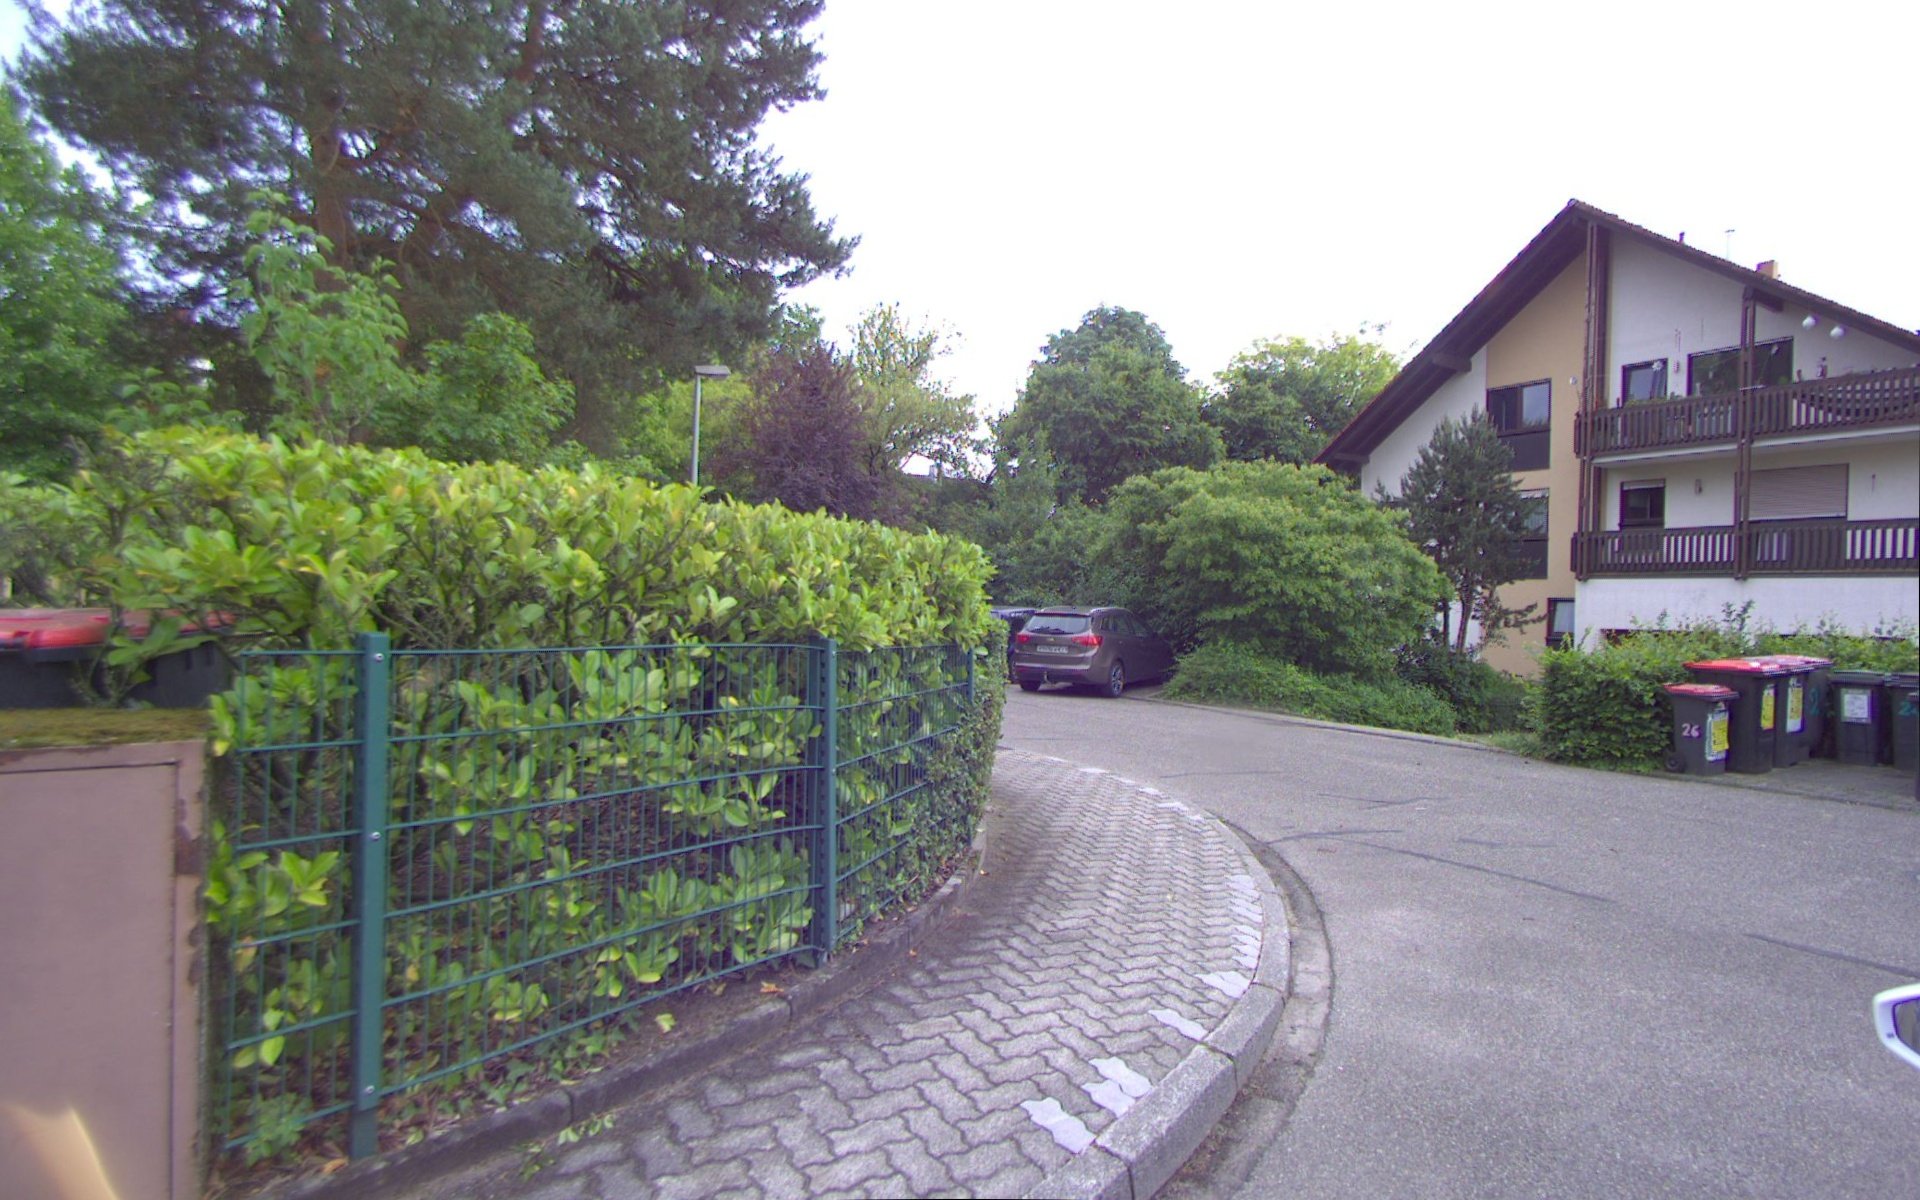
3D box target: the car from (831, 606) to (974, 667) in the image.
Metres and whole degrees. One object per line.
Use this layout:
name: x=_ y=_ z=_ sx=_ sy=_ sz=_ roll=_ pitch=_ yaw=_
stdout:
car: x=-1.397 y=0.886 z=25.851 sx=1.671 sy=1.393 sz=3.990 roll=1 pitch=0 yaw=32

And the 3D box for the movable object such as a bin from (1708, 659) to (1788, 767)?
movable object such as a bin: x=7.891 y=1.114 z=10.067 sx=0.334 sy=1.007 sz=0.533 roll=1 pitch=1 yaw=-35

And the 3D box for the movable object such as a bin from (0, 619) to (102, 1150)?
movable object such as a bin: x=-2.442 y=0.648 z=2.408 sx=0.510 sy=1.203 sz=0.502 roll=1 pitch=-1 yaw=-34

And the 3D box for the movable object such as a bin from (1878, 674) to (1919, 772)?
movable object such as a bin: x=9.252 y=1.192 z=9.765 sx=0.375 sy=0.901 sz=0.383 roll=1 pitch=1 yaw=-35

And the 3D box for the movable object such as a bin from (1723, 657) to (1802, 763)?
movable object such as a bin: x=8.187 y=1.102 z=10.251 sx=0.334 sy=1.007 sz=0.533 roll=1 pitch=1 yaw=-35

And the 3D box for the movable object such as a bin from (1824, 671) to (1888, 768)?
movable object such as a bin: x=9.023 y=1.189 z=10.121 sx=0.375 sy=0.913 sz=0.383 roll=1 pitch=1 yaw=-35

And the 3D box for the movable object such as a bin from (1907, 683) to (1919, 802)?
movable object such as a bin: x=8.361 y=1.196 z=8.284 sx=0.715 sy=0.966 sz=0.634 roll=1 pitch=1 yaw=-34

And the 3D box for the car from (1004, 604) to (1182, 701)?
car: x=2.503 y=0.857 z=18.094 sx=1.671 sy=1.510 sz=3.990 roll=1 pitch=0 yaw=32

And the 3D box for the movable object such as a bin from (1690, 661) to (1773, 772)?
movable object such as a bin: x=7.578 y=1.125 z=9.867 sx=0.375 sy=1.007 sz=0.533 roll=1 pitch=1 yaw=-35

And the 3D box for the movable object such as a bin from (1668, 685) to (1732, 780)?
movable object such as a bin: x=7.178 y=1.269 z=9.745 sx=0.375 sy=0.848 sz=0.383 roll=1 pitch=1 yaw=-35

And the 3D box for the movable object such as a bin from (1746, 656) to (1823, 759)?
movable object such as a bin: x=8.659 y=1.110 z=10.559 sx=0.334 sy=1.007 sz=0.533 roll=1 pitch=1 yaw=-35

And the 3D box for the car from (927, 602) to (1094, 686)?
car: x=1.137 y=0.830 z=20.579 sx=1.671 sy=1.510 sz=3.990 roll=1 pitch=0 yaw=32

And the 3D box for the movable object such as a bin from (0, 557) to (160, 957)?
movable object such as a bin: x=-2.926 y=0.469 z=3.214 sx=0.510 sy=1.180 sz=0.502 roll=1 pitch=-1 yaw=-34
